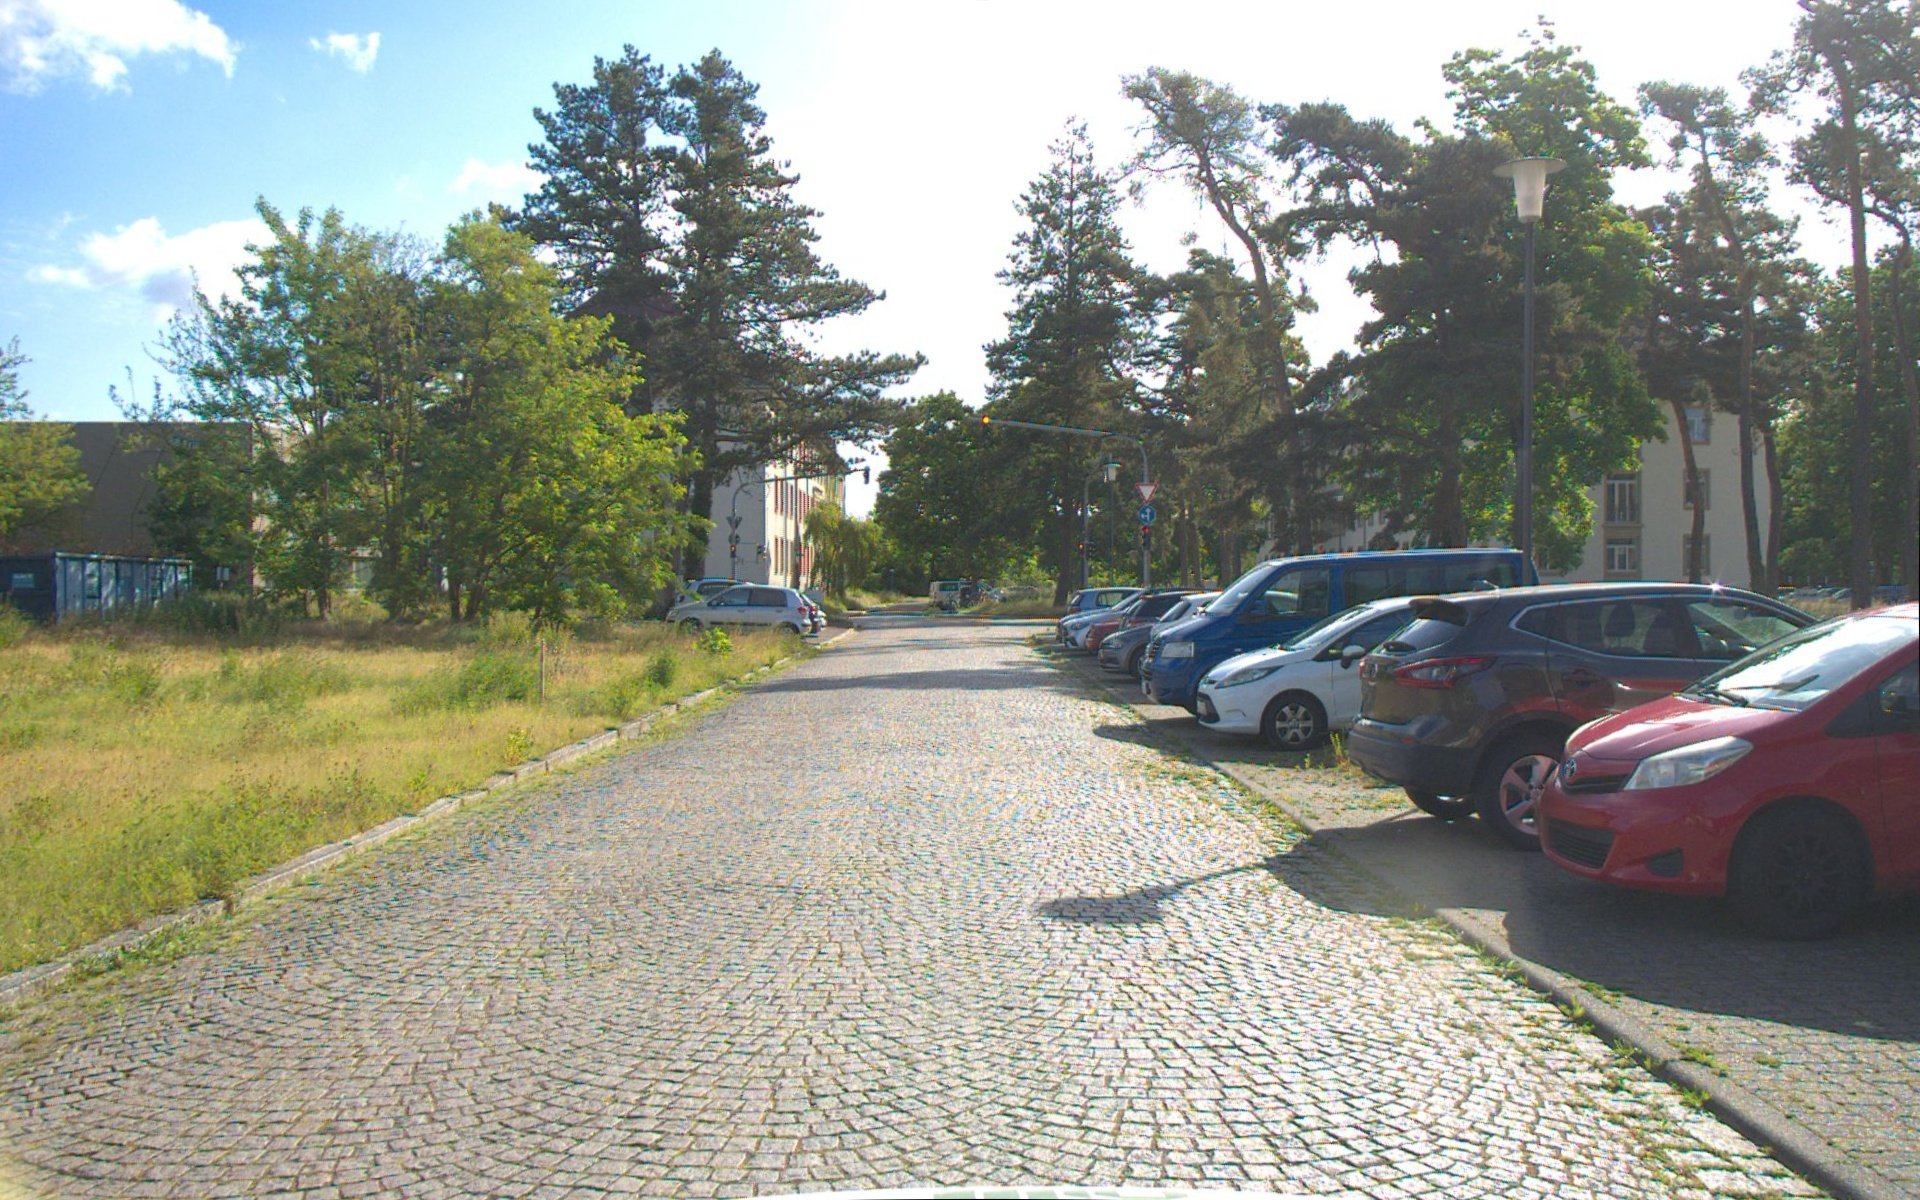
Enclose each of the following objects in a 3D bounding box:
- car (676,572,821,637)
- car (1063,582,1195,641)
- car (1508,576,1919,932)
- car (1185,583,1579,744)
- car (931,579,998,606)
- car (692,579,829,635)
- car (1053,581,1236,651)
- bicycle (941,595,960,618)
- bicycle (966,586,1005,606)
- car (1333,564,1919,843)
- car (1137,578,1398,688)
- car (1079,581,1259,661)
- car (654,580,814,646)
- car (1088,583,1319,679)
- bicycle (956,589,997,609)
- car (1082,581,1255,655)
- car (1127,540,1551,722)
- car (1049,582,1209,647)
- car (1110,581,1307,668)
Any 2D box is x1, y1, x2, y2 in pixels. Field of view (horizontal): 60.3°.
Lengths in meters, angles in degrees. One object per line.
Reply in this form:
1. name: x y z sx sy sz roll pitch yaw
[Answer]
1. car: -6.089 0.117 48.009 3.906 1.629 2.000 3 0 -1
2. car: 4.409 0.293 43.512 3.276 1.508 1.645 0 1 -2
3. car: 4.806 0.660 8.126 3.686 1.557 1.645 0 1 -1
4. car: 4.309 0.617 17.206 3.645 1.514 1.644 -1 1 -3
5. car: 0.272 -0.478 109.929 4.389 1.758 2.000 0 0 -1
6. car: -6.041 0.194 50.411 3.906 1.478 2.000 3 1 -1
7. car: 4.211 0.352 38.098 3.955 1.556 1.644 0 1 -4
8. bicycle: -0.522 0.338 88.992 0.789 1.190 2.177 -2 1 -6
9. bicycle: 1.440 -0.237 93.963 2.134 1.119 0.805 0 0 -10
10. car: 4.567 0.600 10.789 3.856 1.650 1.771 0 1 -2
11. car: 4.596 0.476 25.064 3.618 1.491 1.645 -2 0 0
12. car: 4.197 0.401 33.558 3.408 1.556 1.645 0 1 -2
13. car: -5.765 0.320 42.624 3.907 1.628 1.999 0 1 -3
14. car: 4.063 0.496 27.946 3.601 1.492 1.645 -1 1 -2
15. bicycle: 0.920 -0.074 92.466 2.134 1.119 0.805 0 0 -10
16. car: 4.510 0.374 36.022 3.530 1.556 1.645 0 1 -2
17. car: 4.448 0.329 19.884 4.584 2.049 2.082 0 1 -4
18. car: 4.136 0.346 40.868 3.758 1.556 1.645 0 1 -2
19. car: 4.594 0.431 30.871 3.408 1.556 1.645 0 1 -2
